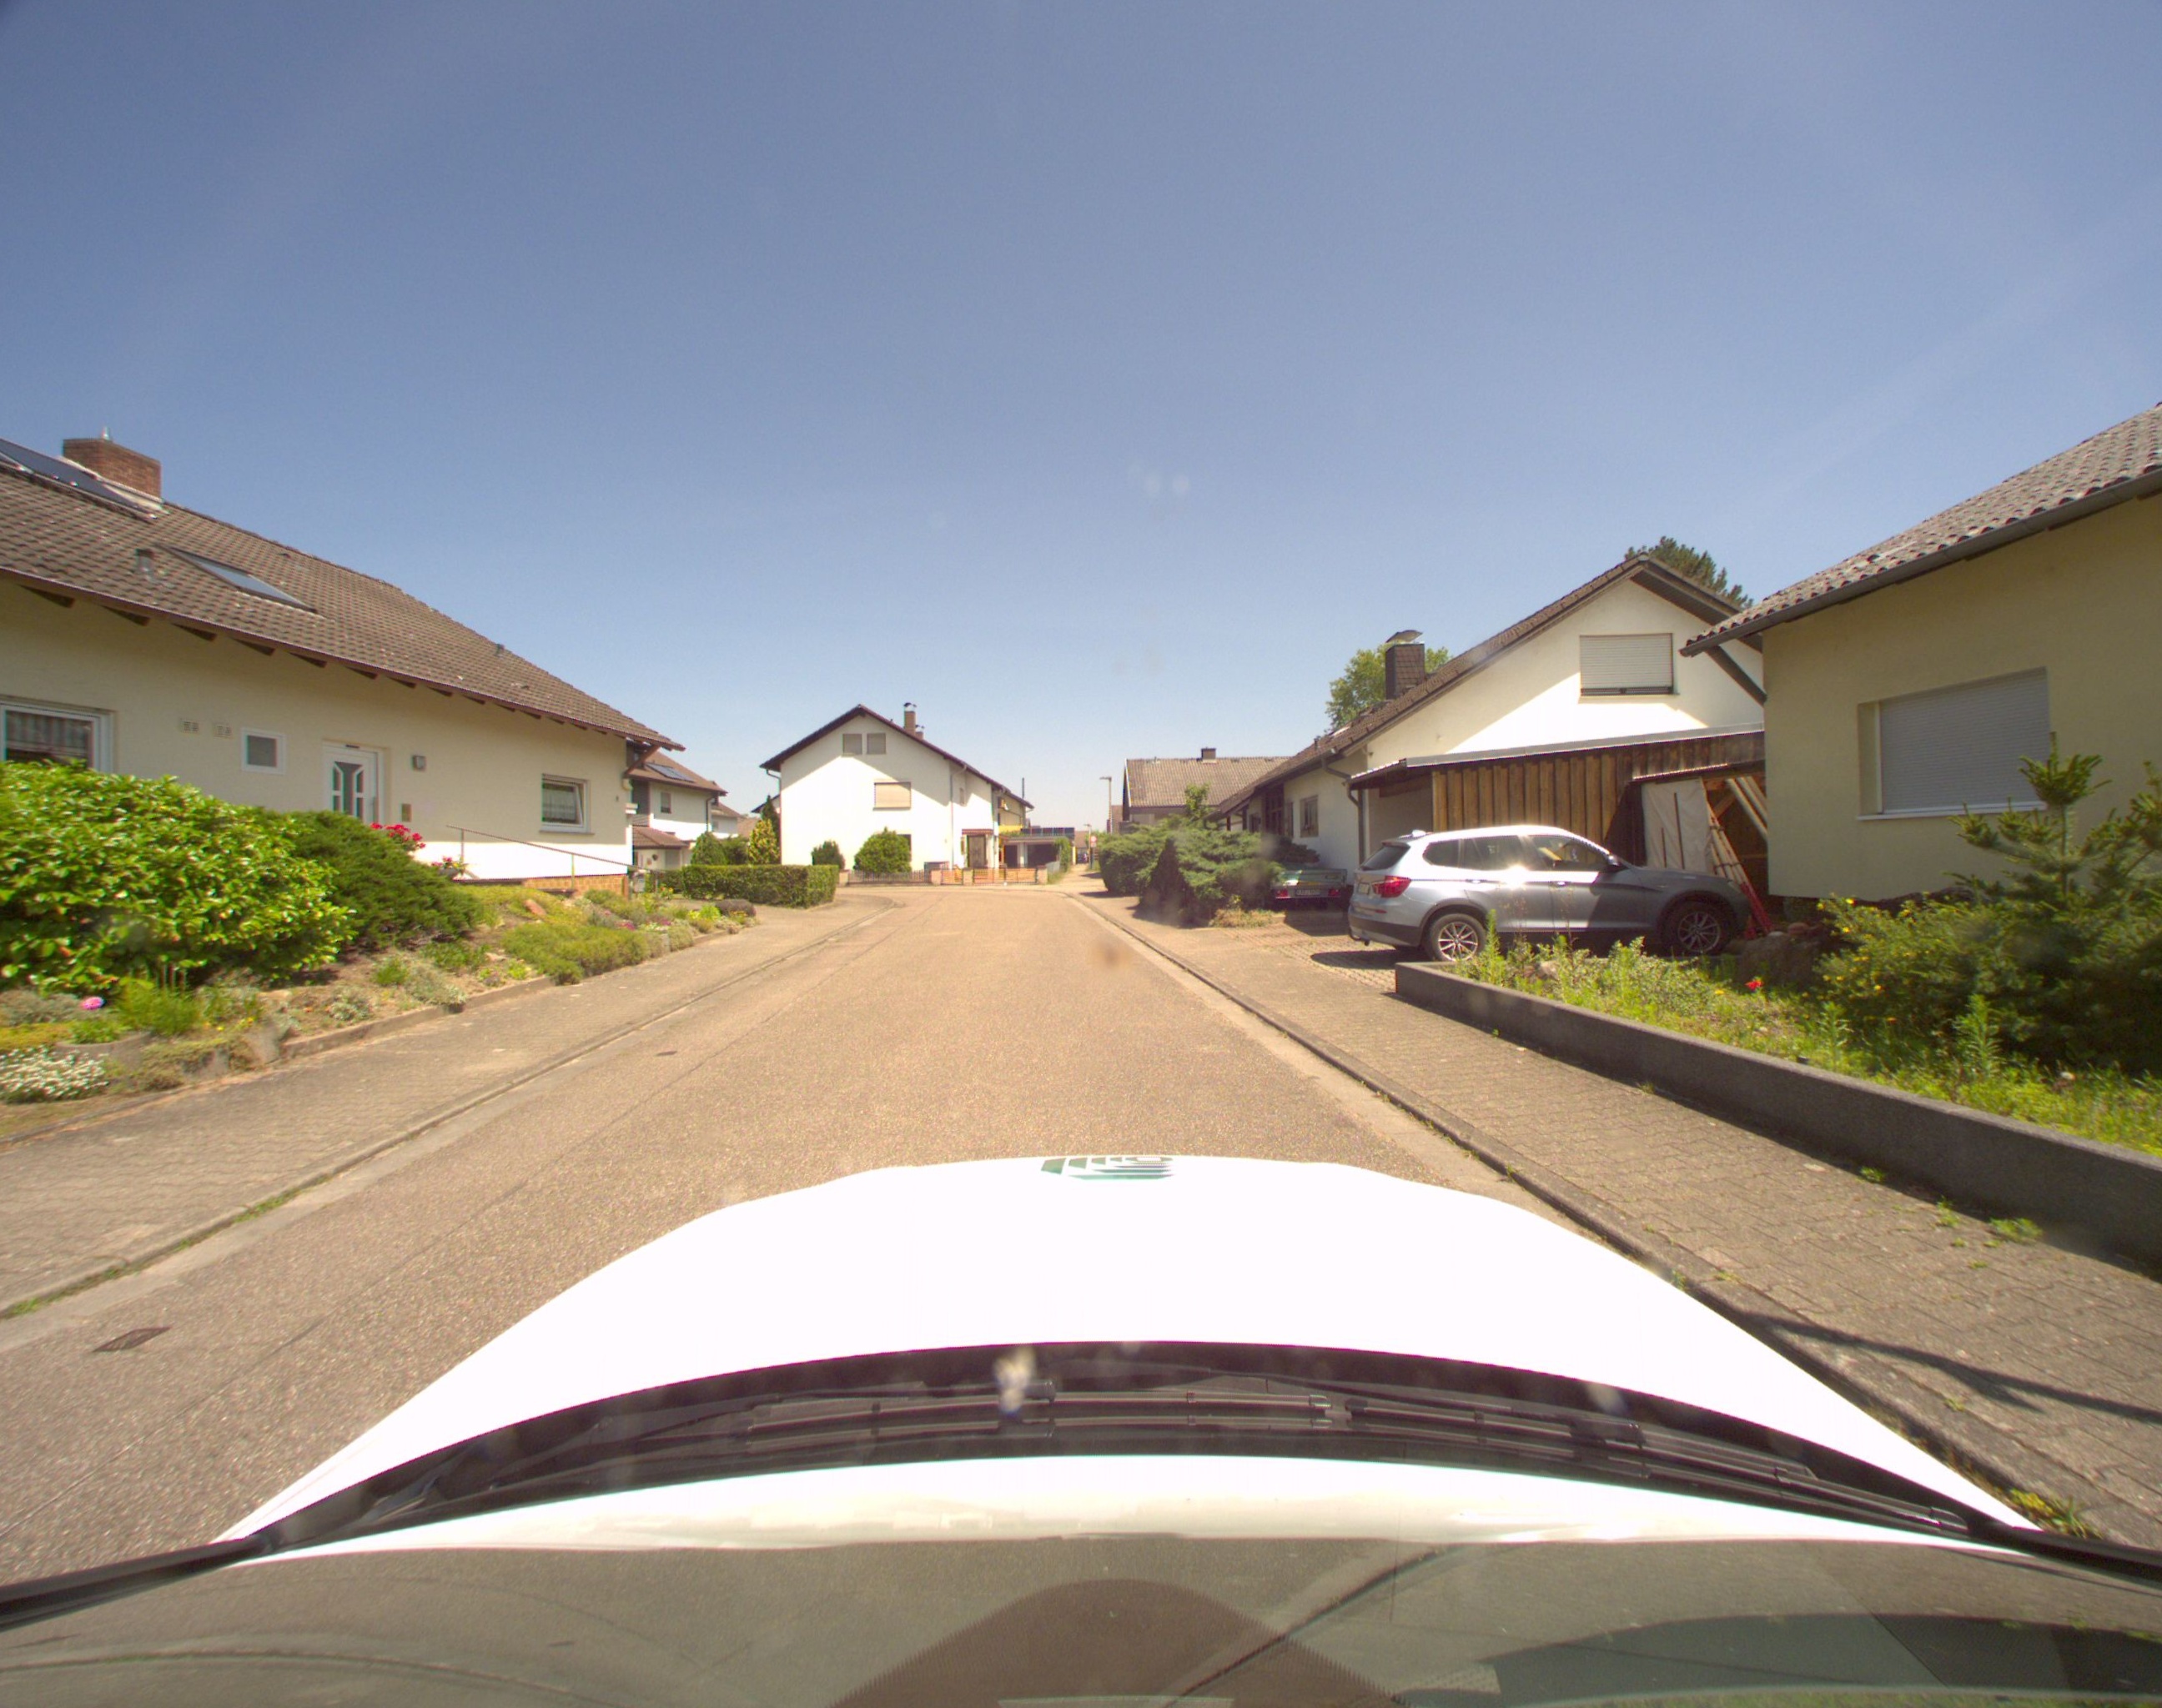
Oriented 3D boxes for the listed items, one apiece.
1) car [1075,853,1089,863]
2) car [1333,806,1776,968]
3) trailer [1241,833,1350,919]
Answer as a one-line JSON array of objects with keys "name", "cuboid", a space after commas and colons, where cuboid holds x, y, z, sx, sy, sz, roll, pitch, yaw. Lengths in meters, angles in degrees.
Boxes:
[{"name": "car", "cuboid": [0.132, 0.639, 136.209, 2.185, 1.701, 3.808, -1, 0, 2]}, {"name": "car", "cuboid": [5.818, 0.400, 10.471, 4.607, 1.702, 1.711, -3, 0, 3]}, {"name": "trailer", "cuboid": [4.651, 0.426, 18.065, 1.581, 1.672, 3.298, -3, 0, 2]}]
